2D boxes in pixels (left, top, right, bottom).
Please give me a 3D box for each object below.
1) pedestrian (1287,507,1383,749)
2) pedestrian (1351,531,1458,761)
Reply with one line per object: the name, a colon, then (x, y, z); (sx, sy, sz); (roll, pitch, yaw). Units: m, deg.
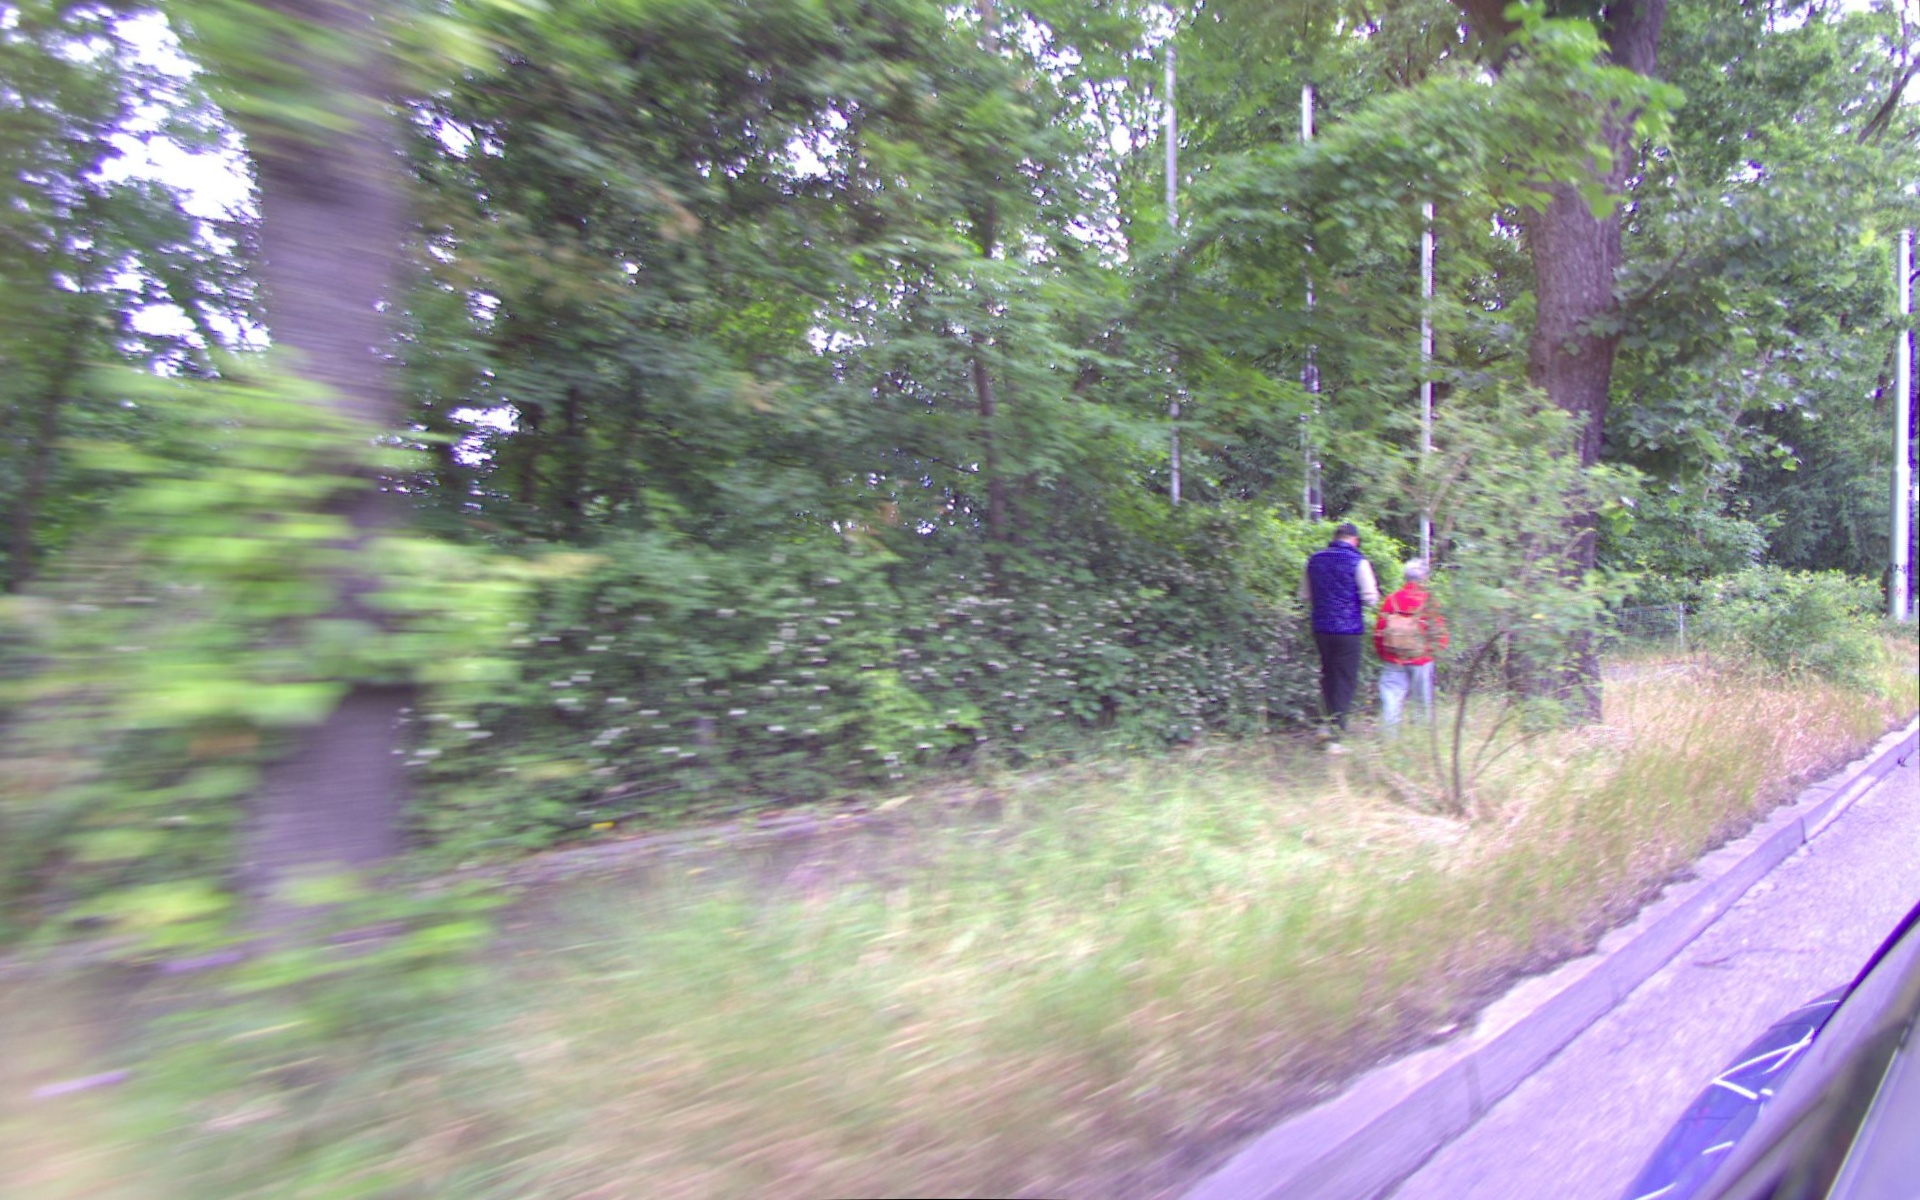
pedestrian: (2.889, 0.196, 7.798); (0.516, 1.775, 0.519); (-1, 1, -44)
pedestrian: (3.488, 0.334, 7.946); (0.540, 1.719, 0.609); (-1, 1, -44)
